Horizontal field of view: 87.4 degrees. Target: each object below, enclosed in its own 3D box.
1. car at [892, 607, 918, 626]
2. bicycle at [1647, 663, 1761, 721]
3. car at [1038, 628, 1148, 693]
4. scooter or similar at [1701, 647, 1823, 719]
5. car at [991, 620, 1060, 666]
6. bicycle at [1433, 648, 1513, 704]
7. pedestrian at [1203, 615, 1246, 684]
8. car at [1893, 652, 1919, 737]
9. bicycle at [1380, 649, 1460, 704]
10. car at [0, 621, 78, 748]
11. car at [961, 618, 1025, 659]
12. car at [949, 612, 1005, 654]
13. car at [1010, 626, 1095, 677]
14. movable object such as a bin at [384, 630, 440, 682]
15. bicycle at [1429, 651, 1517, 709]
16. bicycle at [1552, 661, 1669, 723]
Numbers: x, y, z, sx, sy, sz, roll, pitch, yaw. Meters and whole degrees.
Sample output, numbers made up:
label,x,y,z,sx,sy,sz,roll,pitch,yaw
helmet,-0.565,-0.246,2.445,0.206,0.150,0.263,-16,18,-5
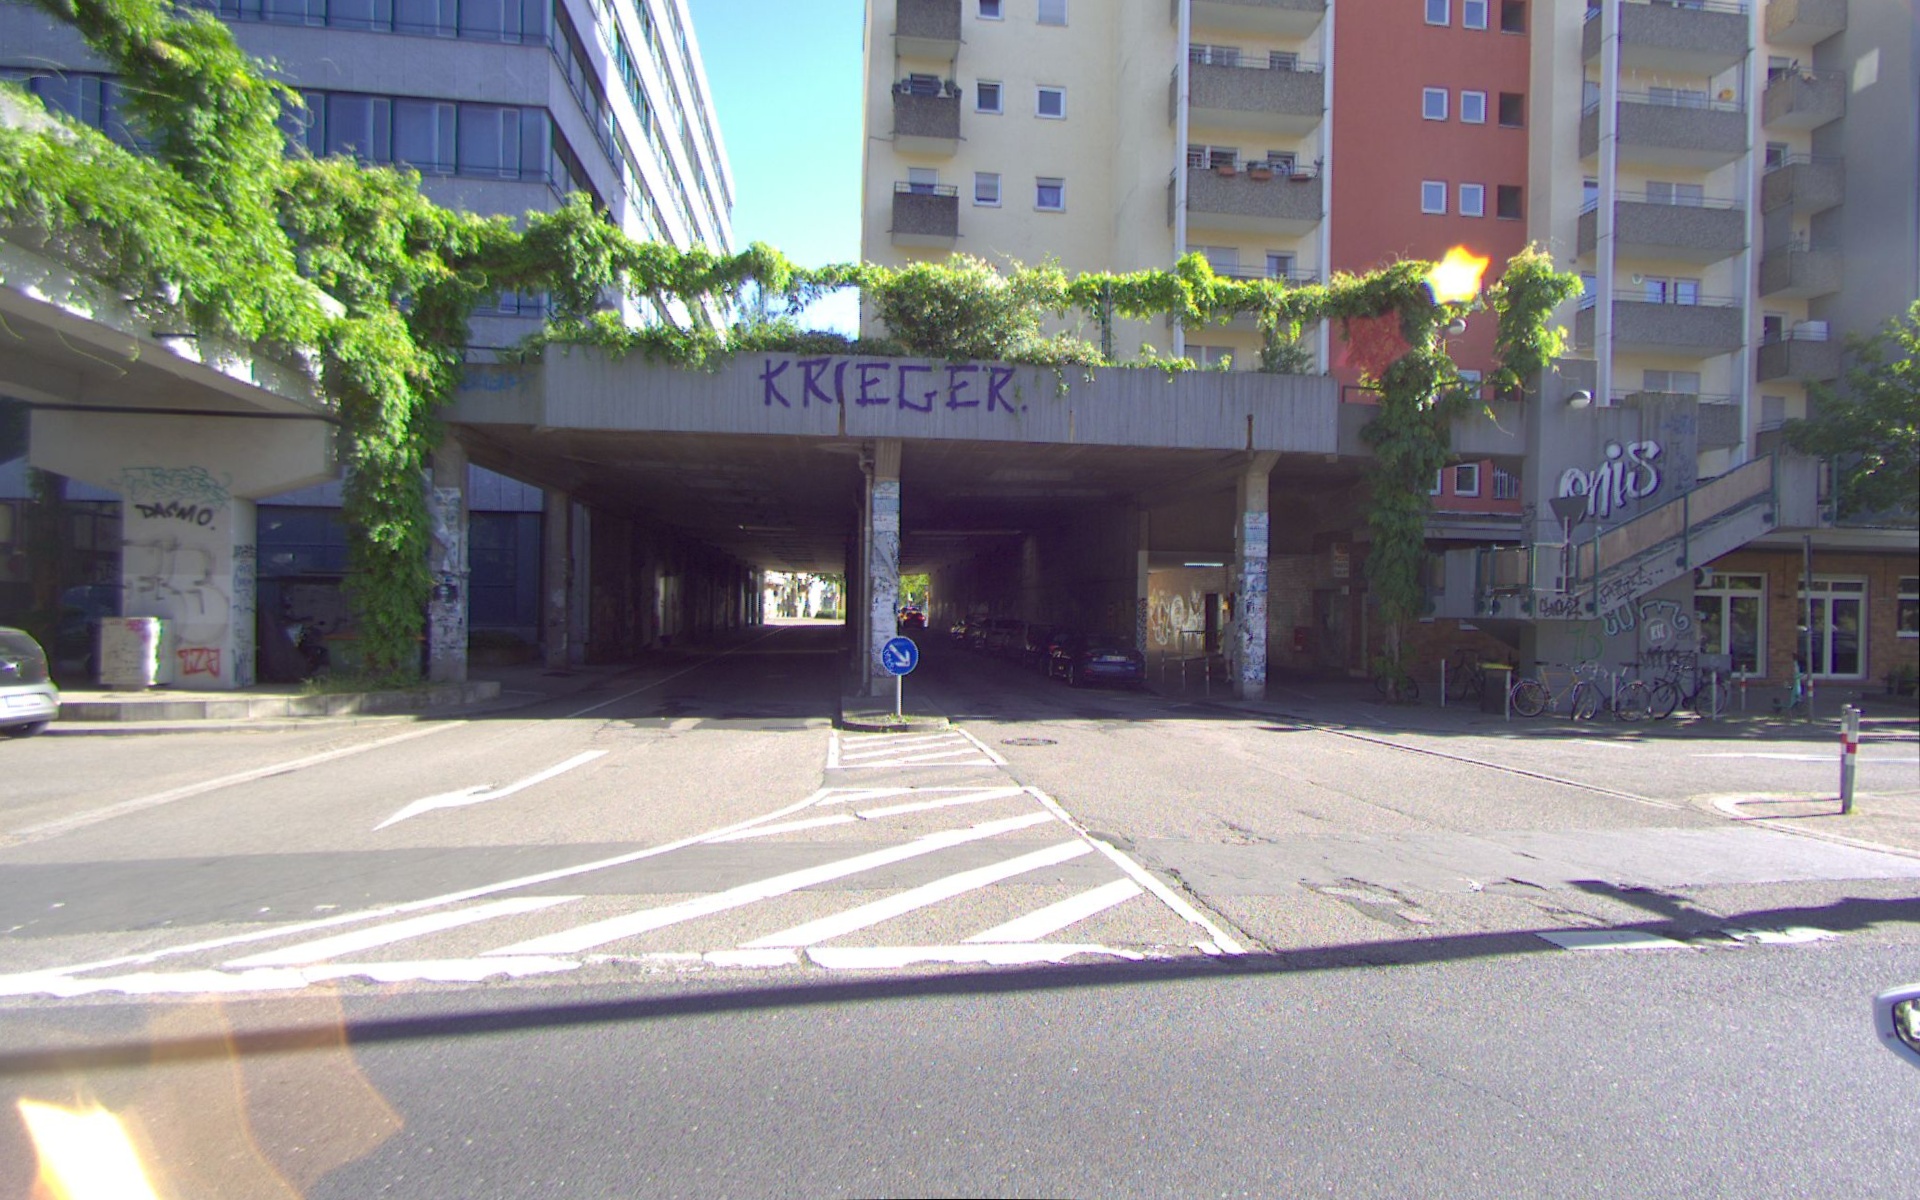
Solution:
label,x,y,z,sx,sy,sz,roll,pitch,yaw
car,-4.500,1.334,81.680,1.798,1.521,4.207,1,0,-6
bicycle,13.873,1.708,18.751,1.766,1.015,0.415,1,2,2
car,3.378,1.517,26.430,1.822,1.451,4.603,3,-1,-5
scooter or similar,16.024,1.630,20.144,0.620,1.294,1.969,0,-1,-12
car,2.288,1.501,35.946,1.580,1.507,3.630,1,-1,-12
bicycle,10.779,1.572,21.168,0.408,1.014,1.796,0,1,-15
pedestrian,6.803,1.267,25.837,0.782,1.722,0.756,1,2,-9
car,18.316,1.607,16.522,4.444,1.416,1.896,1,-1,-6
bicycle,9.541,1.559,20.896,0.476,1.014,1.796,0,0,-15
car,-13.347,0.996,12.225,3.581,1.506,1.609,1,-1,-9
car,1.274,1.504,40.365,1.704,1.566,4.148,1,-1,-10
car,0.717,1.455,45.322,1.825,1.688,4.365,2,0,-8
car,2.786,1.545,31.241,1.735,1.429,4.058,1,-1,-8
movable object such as a bin,-10.085,1.022,18.504,0.706,0.917,0.640,1,-1,-9
bicycle,10.378,1.594,20.372,0.410,1.014,1.604,-1,2,-30
bicycle,11.986,1.684,18.535,1.765,1.045,0.415,1,2,9
